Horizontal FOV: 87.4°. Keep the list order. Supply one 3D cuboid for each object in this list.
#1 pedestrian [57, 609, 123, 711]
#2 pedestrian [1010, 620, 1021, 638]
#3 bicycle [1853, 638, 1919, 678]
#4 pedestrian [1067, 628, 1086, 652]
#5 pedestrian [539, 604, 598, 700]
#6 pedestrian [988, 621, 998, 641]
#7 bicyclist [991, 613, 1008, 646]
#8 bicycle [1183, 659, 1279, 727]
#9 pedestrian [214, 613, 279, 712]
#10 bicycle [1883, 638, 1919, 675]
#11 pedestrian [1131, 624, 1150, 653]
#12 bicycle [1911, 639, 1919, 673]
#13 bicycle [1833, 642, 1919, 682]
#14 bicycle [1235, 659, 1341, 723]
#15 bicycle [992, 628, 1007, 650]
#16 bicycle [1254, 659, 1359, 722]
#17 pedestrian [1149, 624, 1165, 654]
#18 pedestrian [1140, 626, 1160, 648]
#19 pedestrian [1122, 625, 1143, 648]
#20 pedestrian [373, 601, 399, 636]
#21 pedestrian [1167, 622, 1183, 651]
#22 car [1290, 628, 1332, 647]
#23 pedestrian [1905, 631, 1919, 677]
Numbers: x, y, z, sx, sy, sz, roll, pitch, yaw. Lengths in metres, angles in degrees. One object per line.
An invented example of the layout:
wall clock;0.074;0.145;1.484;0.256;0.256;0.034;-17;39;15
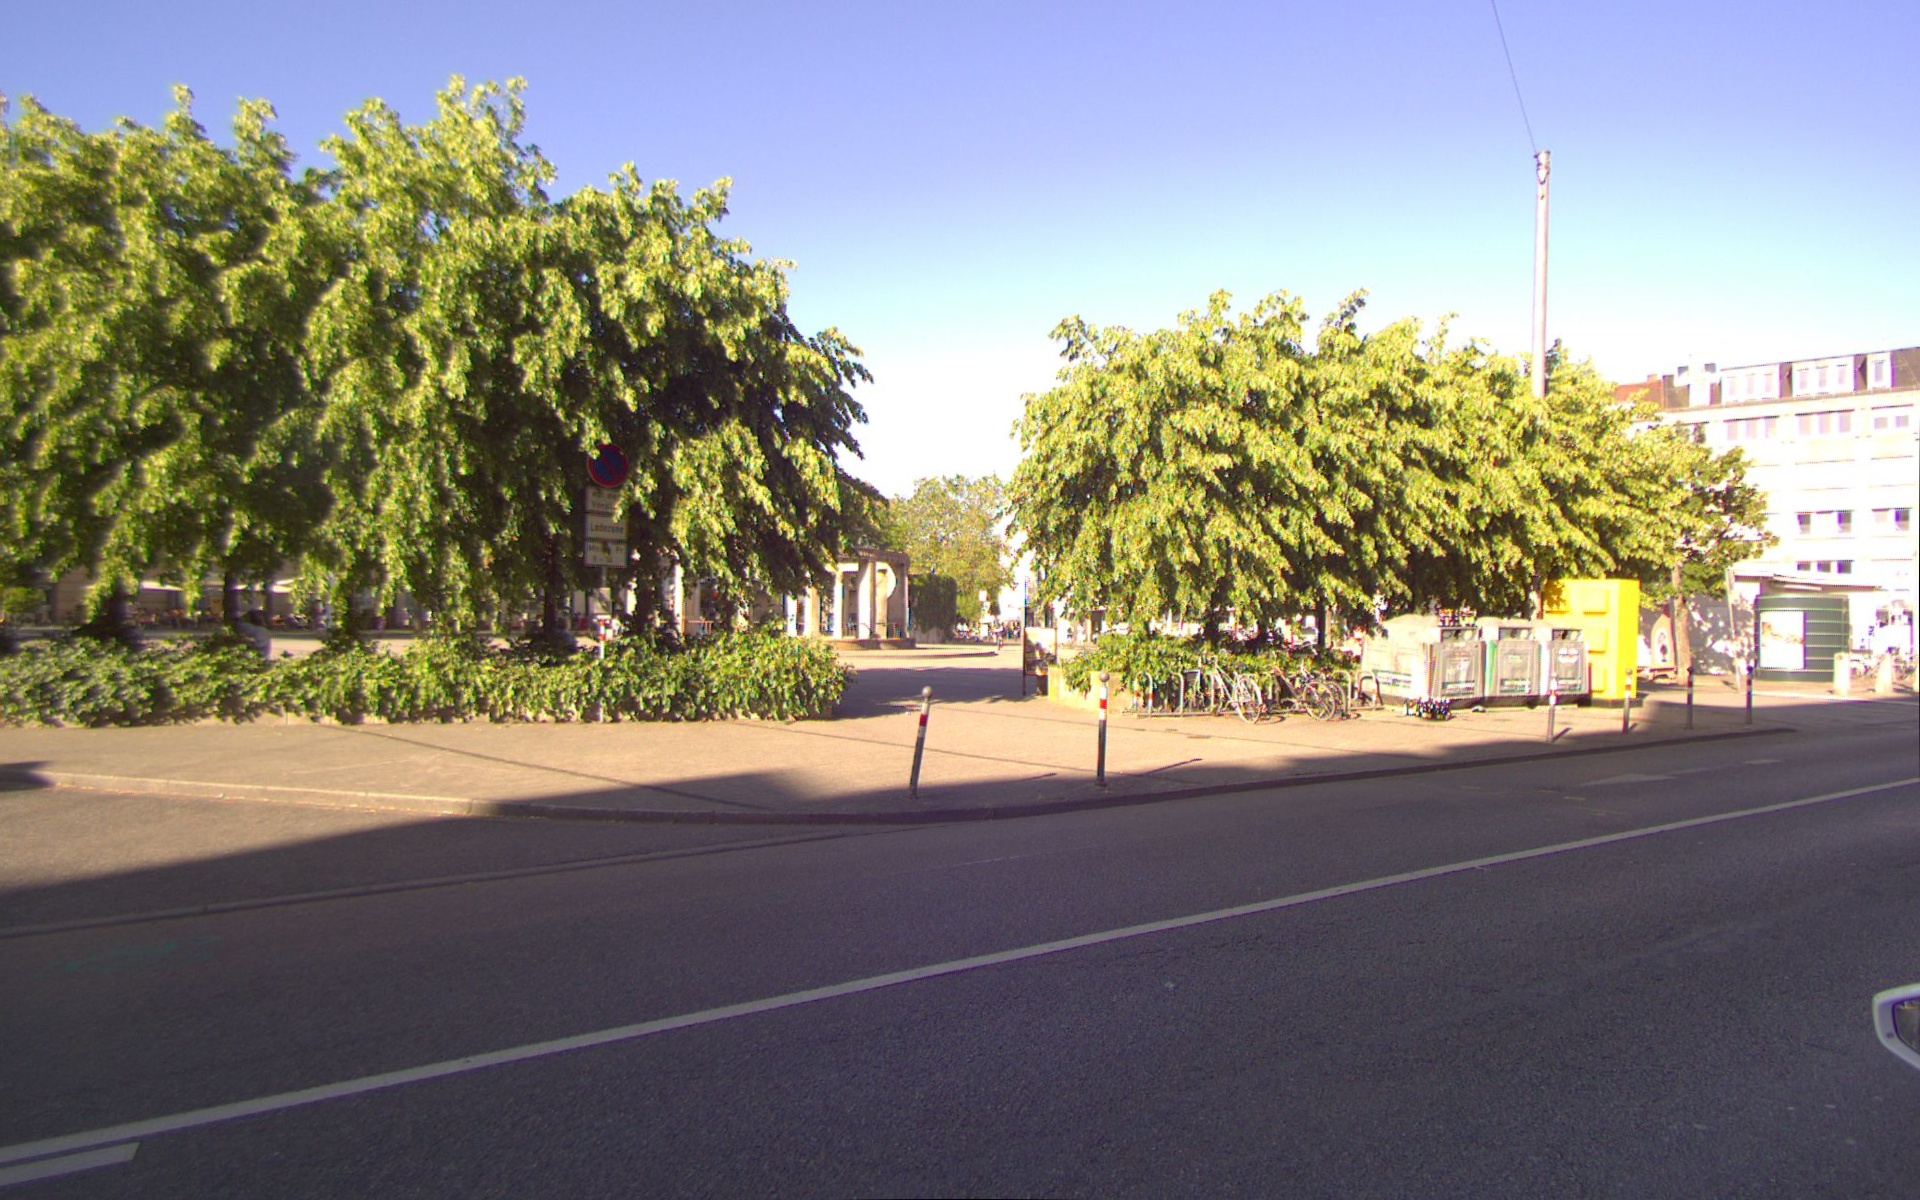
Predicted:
pedestrian;-12.871;0.873;14.880;0.615;1.456;0.647;2;0;-32
pedestrian;5.628;2.949;102.255;0.891;1.845;0.952;2;0;17
bicycle;33.131;2.043;35.061;0.923;1.291;2.764;2;0;-32
pedestrian;9.675;3.314;83.165;1.275;1.867;1.102;2;0;22
pedestrian;-6.512;0.851;16.713;0.688;1.541;0.676;2;0;-41
pedestrian;3.464;3.266;104.550;0.836;2.040;0.855;2;0;10
bicyclist;2.117;1.593;54.191;0.772;1.722;0.896;2;0;8
bicycle;4.162;1.413;15.522;0.464;0.897;1.558;2;0;-29
pedestrian;-10.864;0.936;15.297;0.581;1.456;0.615;2;0;33
bicycle;35.250;2.087;36.127;0.932;1.287;2.859;2;0;-32
pedestrian;9.793;2.077;54.597;0.904;1.541;0.936;2;0;15
bicycle;37.233;2.158;37.271;0.932;1.276;2.648;2;0;-32
bicycle;31.209;2.066;33.758;0.932;1.211;2.645;2;0;-32
bicycle;5.262;1.445;16.180;0.465;0.870;1.659;2;0;-35
bicycle;2.136;2.120;54.330;0.593;1.116;1.990;2;0;7
bicycle;5.661;1.456;16.476;0.465;0.870;1.654;2;0;-35
pedestrian;10.565;2.087;53.830;0.761;1.541;0.838;2;0;6
pedestrian;10.921;2.125;57.741;0.885;1.230;0.865;2;0;-13
pedestrian;9.807;2.064;57.179;0.855;1.230;0.933;2;0;-15
pedestrian;-26.060;0.823;45.595;0.681;1.550;0.739;2;0;32
pedestrian;11.523;1.953;53.856;0.598;1.528;0.557;2;0;-15
car;26.348;2.798;75.412;2.707;1.283;1.241;2;0;31
pedestrian;34.596;1.947;35.606;1.074;1.633;1.267;2;0;14
